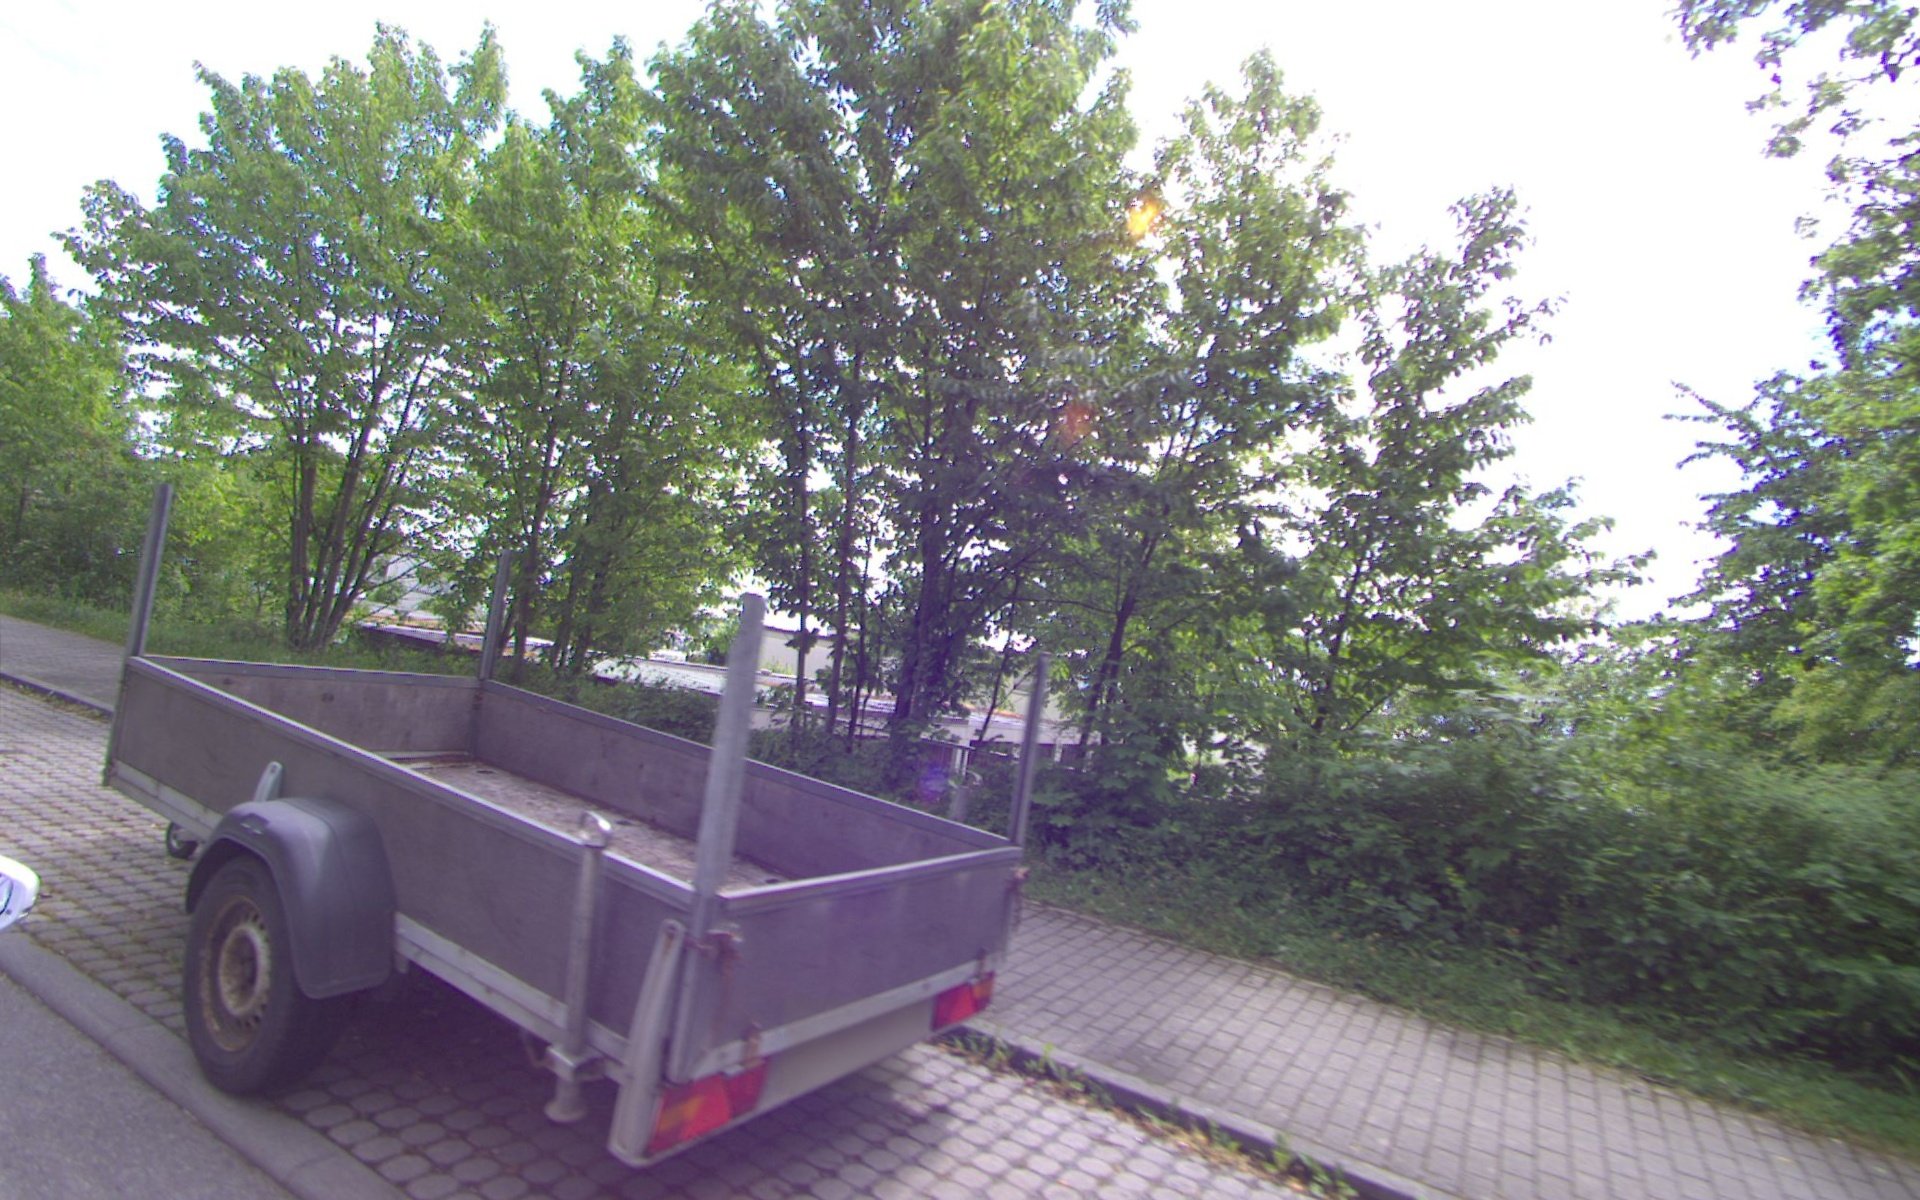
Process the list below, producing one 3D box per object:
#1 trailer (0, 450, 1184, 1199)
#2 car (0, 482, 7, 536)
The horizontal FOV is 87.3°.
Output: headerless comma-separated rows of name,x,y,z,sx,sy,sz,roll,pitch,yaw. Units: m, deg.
trailer,-1.699,0.519,3.621,4.413,1.597,1.814,7,-2,30
car,-9.564,-0.466,7.899,3.716,1.494,1.711,8,-1,26
